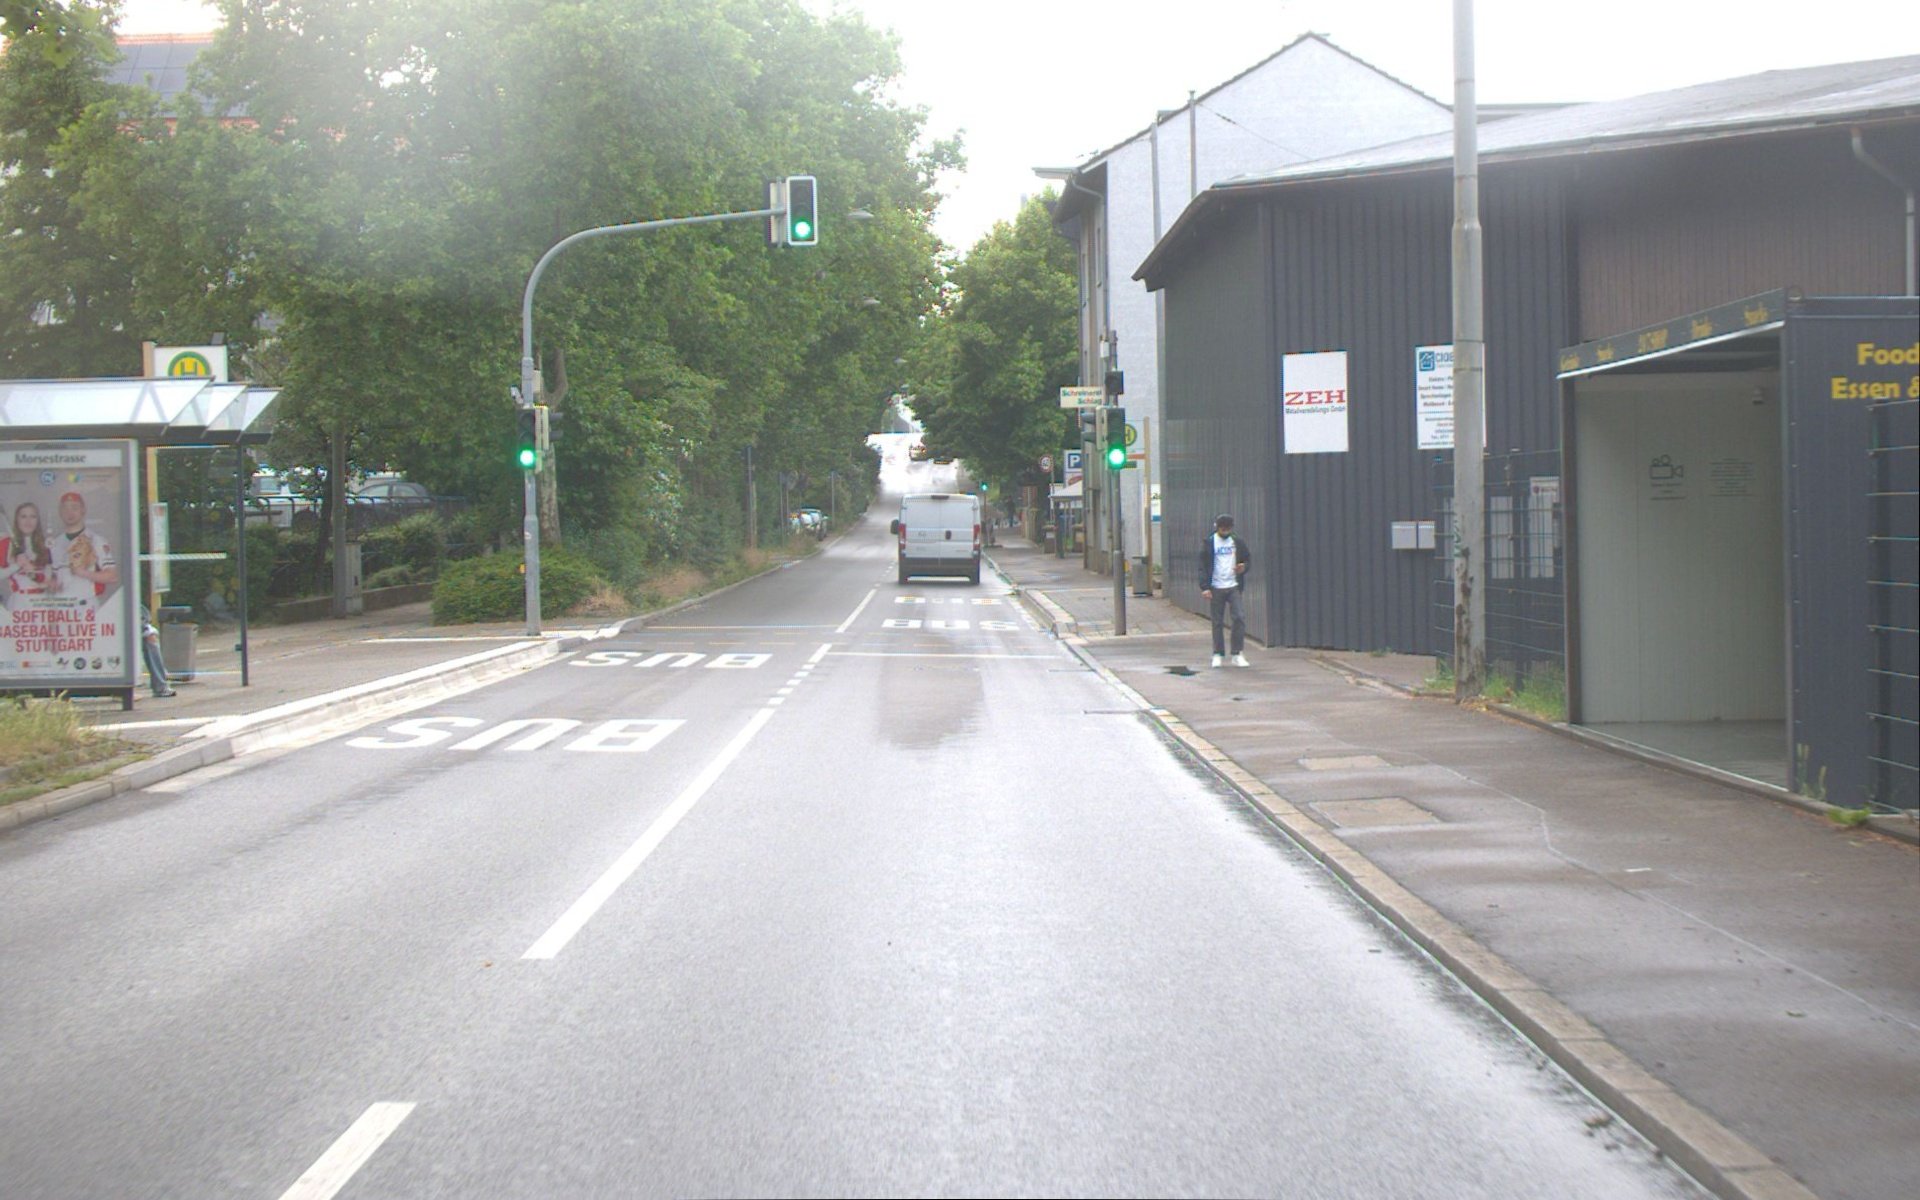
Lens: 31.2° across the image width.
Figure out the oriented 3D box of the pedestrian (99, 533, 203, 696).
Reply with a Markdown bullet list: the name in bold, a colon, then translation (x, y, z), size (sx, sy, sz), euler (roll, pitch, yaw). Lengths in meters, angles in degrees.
- **pedestrian**: translation (-7.250, 0.133, 30.815), size (0.688, 1.413, 0.640), euler (-3, -1, 3)

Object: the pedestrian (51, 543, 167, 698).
- **pedestrian**: translation (-7.432, 0.181, 30.046), size (0.775, 1.312, 0.640), euler (-2, -1, 3)

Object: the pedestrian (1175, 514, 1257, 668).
- **pedestrian**: translation (2.872, -0.098, 38.594), size (0.742, 1.698, 0.902), euler (1, 0, -6)

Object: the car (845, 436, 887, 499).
- **car**: translation (-5.593, -7.862, 204.668), size (2.215, 2.288, 4.606), euler (1, -18, 2)

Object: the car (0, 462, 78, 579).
- **car**: translation (-15.516, -1.188, 50.602), size (4.545, 1.666, 2.000), euler (1, 0, -1)

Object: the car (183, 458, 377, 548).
- **car**: translation (-15.668, -2.226, 79.323), size (4.167, 2.007, 1.719), euler (1, 1, -3)

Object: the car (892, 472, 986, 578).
- **car**: translation (-0.518, -1.858, 86.263), size (2.282, 2.544, 4.000), euler (0, 0, 0)
